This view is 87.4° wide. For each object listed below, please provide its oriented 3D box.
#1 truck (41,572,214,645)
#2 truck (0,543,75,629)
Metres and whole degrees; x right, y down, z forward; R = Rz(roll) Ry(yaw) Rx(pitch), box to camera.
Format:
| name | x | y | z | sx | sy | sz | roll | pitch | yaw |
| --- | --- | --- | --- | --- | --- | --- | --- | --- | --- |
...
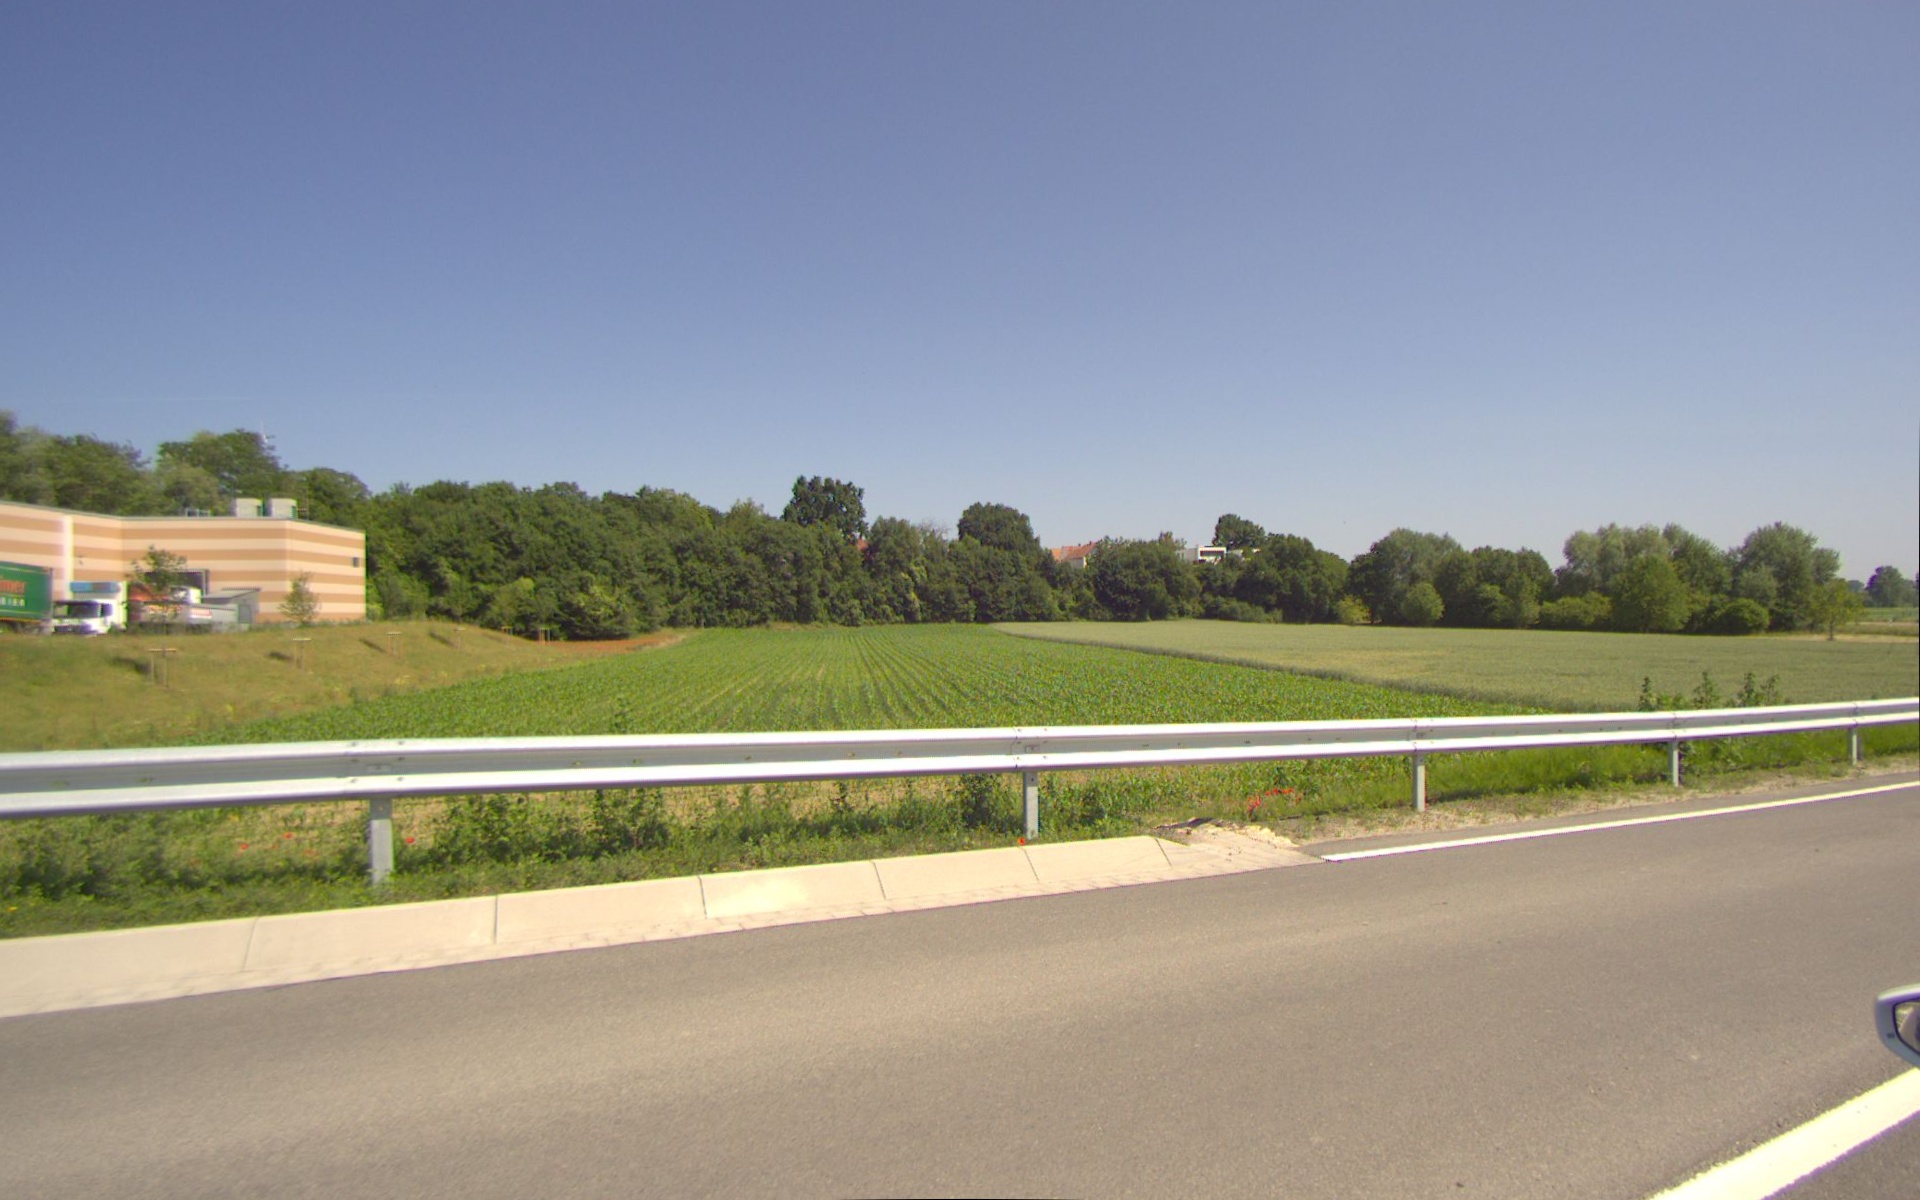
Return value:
| name | x | y | z | sx | sy | sz | roll | pitch | yaw |
| --- | --- | --- | --- | --- | --- | --- | --- | --- | --- |
| truck | -45.777 | 0.484 | 55.691 | 2.824 | 3.611 | 8.875 | 2 | -1 | -6 |
| truck | -40.716 | -0.622 | 39.745 | 2.823 | 3.523 | 9.939 | 2 | -1 | -2 |
